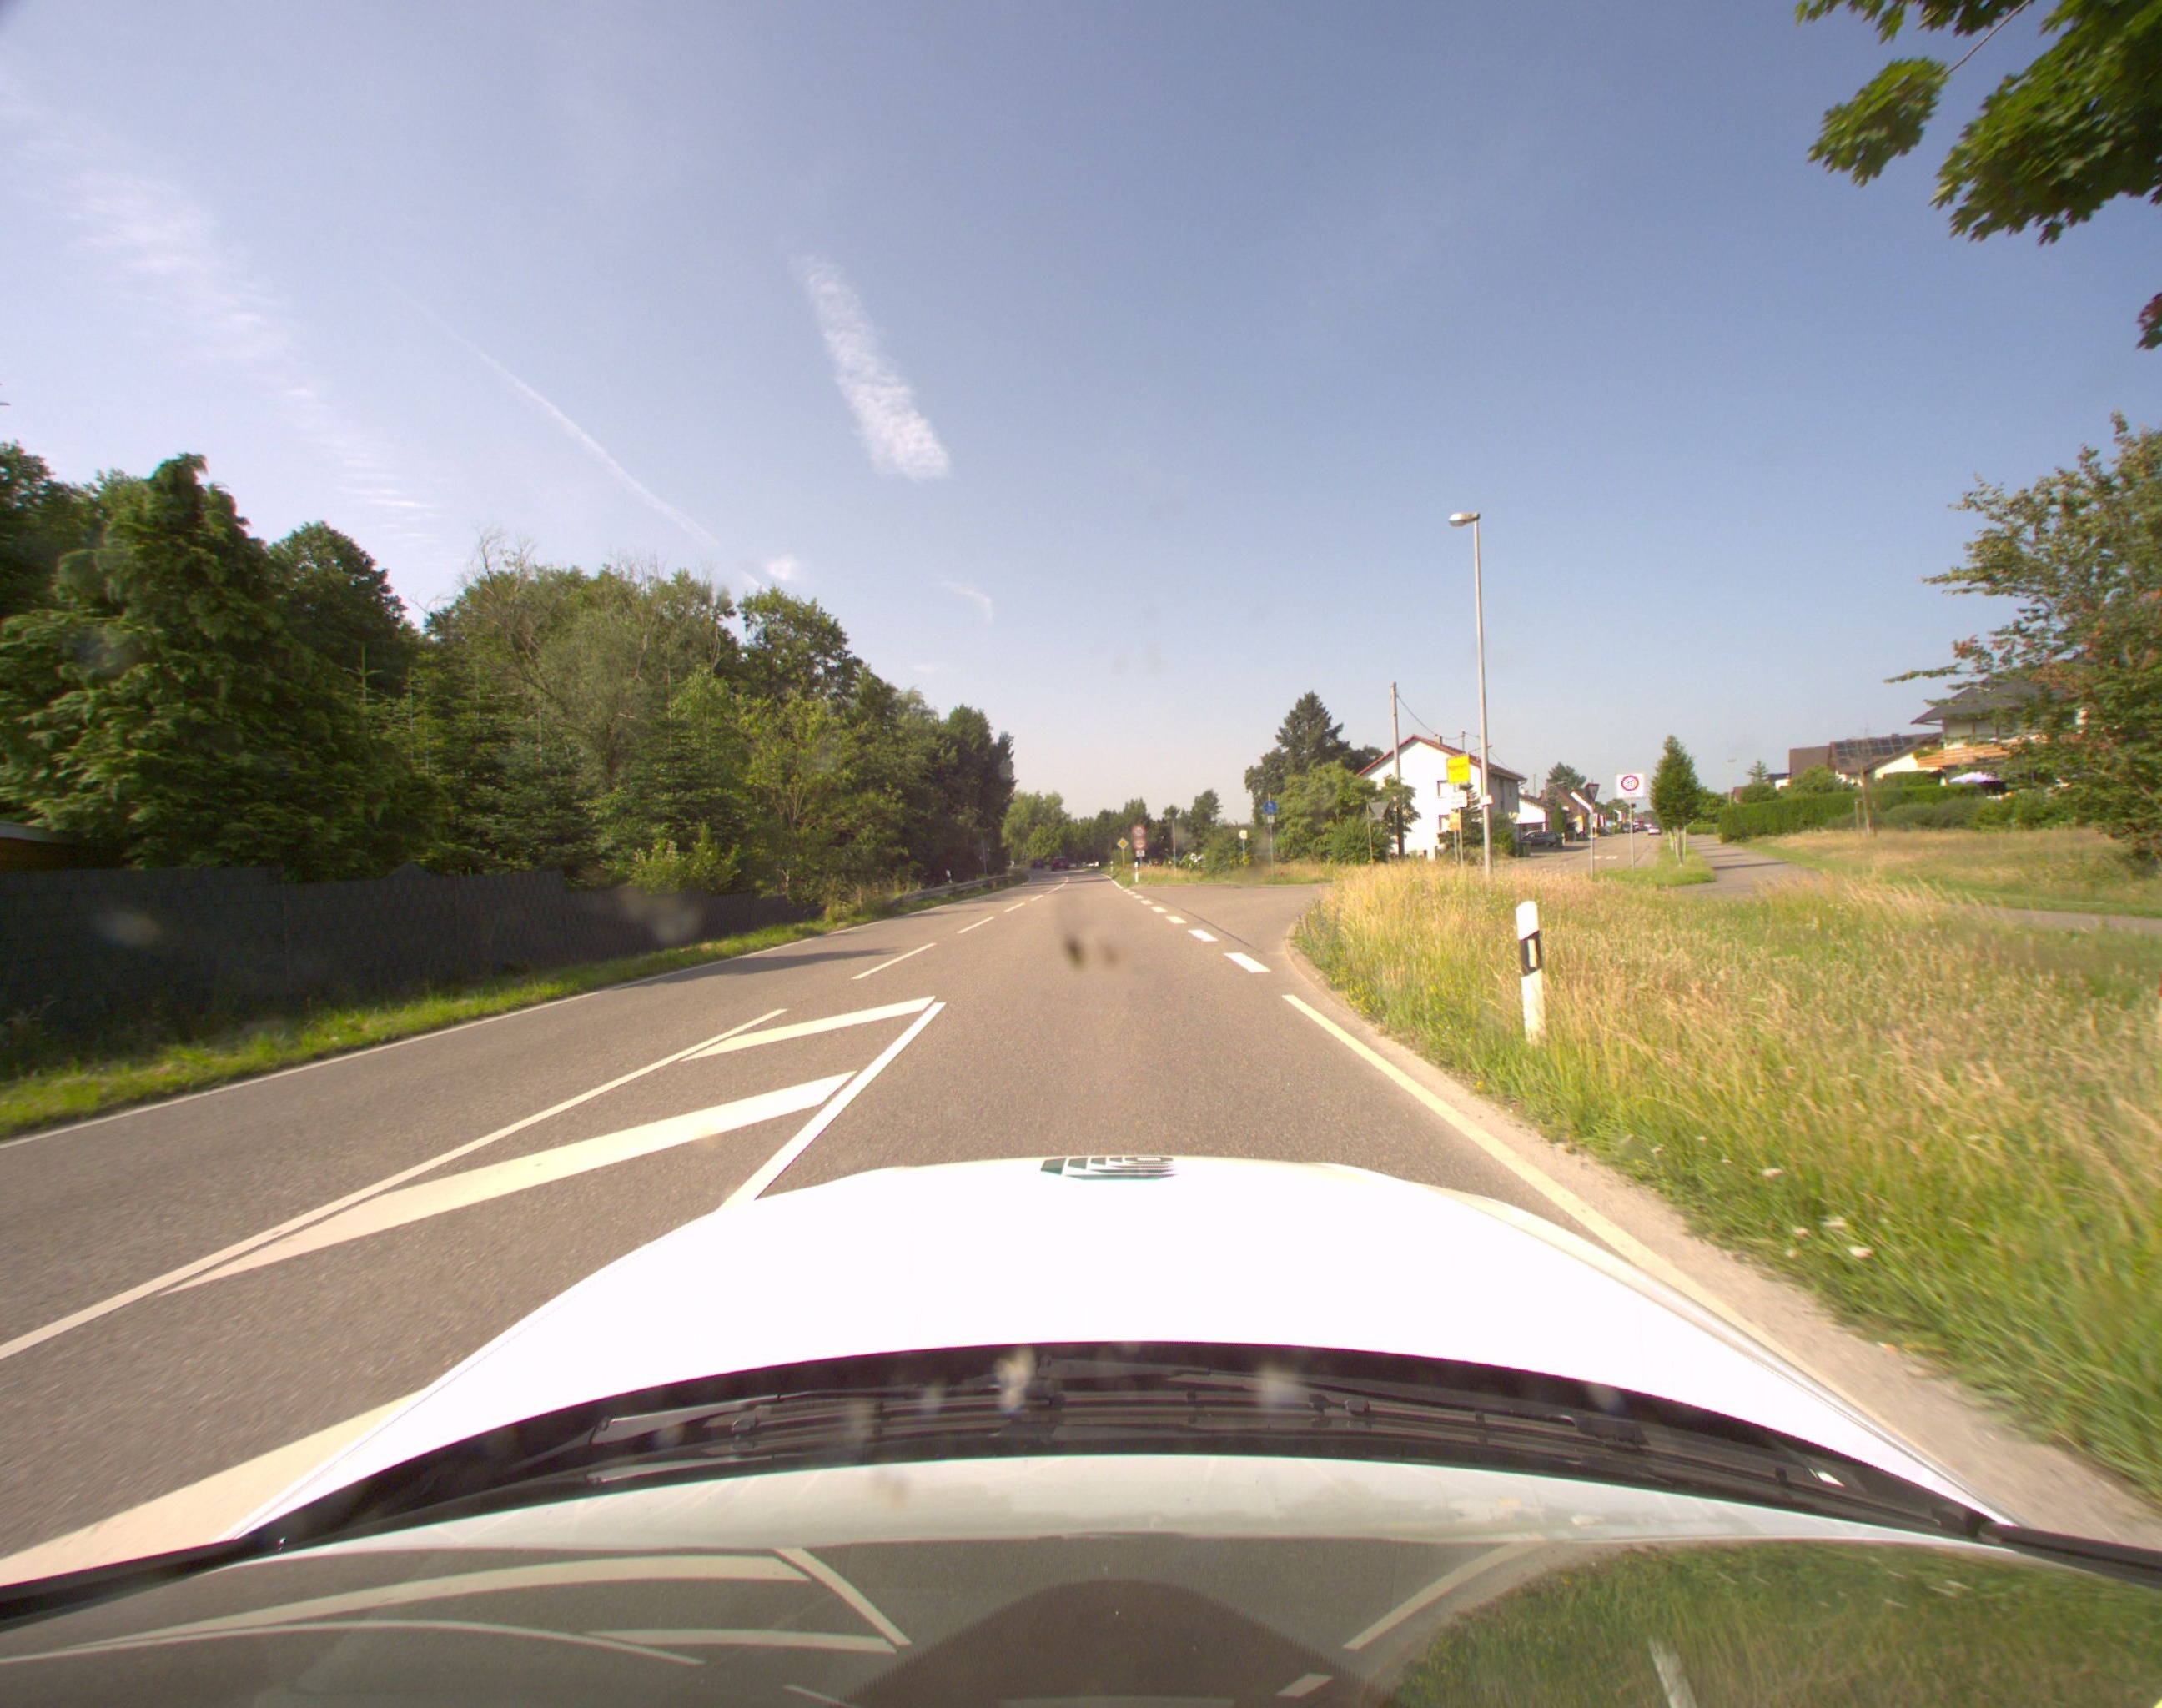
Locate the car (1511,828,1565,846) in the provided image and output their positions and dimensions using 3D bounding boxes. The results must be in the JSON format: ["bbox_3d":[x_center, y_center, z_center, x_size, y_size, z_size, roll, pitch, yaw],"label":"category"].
[{"bbox_3d":[45.606,-1.652,81.366,4.403,1.698,1.782,-1,0,41],"label":"car"}]

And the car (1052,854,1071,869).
[{"bbox_3d":[-2.485,0.881,100.934,1.924,1.771,3.990,-2,0,-7],"label":"car"}]

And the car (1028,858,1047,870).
[{"bbox_3d":[-6.634,1.496,123.927,2.007,1.771,3.981,-2,0,-14],"label":"car"}]

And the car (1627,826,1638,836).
[{"bbox_3d":[119.333,-5.030,176.246,1.974,2.013,4.026,-1,0,33],"label":"car"}]
